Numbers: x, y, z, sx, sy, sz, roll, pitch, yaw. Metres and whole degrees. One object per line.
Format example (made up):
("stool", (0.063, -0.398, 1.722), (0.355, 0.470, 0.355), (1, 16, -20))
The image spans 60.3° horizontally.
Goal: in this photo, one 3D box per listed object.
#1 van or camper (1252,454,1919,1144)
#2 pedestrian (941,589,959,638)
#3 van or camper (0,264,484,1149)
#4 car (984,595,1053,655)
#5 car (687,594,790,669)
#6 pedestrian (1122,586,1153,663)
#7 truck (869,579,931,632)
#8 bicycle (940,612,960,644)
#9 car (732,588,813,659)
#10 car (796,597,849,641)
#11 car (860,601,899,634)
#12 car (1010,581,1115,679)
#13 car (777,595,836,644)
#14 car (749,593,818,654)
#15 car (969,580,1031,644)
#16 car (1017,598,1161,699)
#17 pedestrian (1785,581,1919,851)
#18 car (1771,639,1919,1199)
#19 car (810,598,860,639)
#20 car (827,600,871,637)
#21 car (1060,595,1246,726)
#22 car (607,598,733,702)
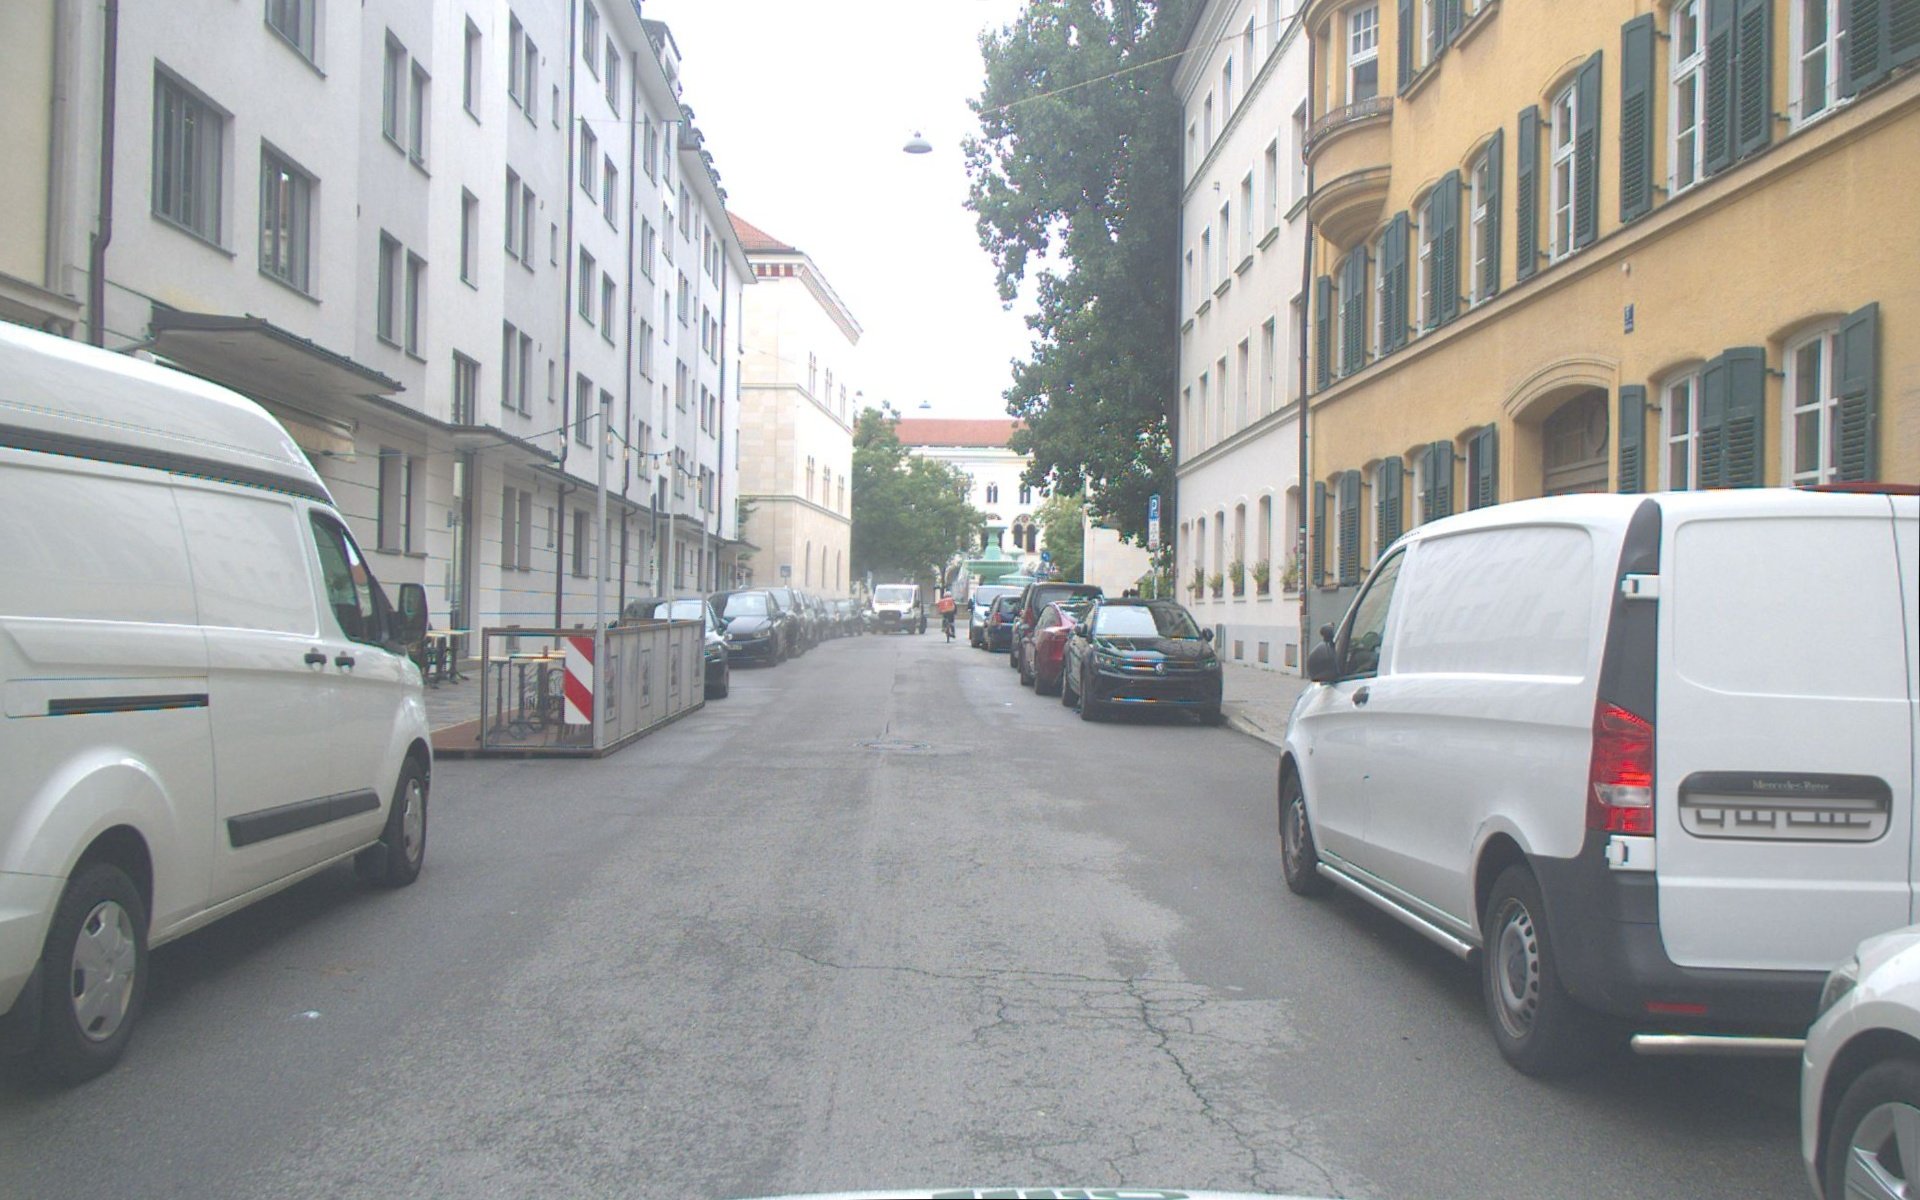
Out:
("van or camper", (2.673, 0.565, 7.160), (1.796, 1.904, 5.077), (1, 0, -1))
("pedestrian", (-0.351, 0.481, 58.618), (0.629, 1.744, 0.842), (1, -1, -1))
("van or camper", (-3.466, 0.276, 6.657), (1.719, 2.321, 5.270), (1, 0, -2))
("car", (1.667, 0.716, 48.032), (1.775, 1.642, 4.155), (1, 0, -1))
("car", (-4.583, 0.626, 34.706), (1.781, 1.470, 3.816), (0, 0, -2))
("pedestrian", (4.709, 0.648, 43.801), (0.656, 2.015, 0.708), (-2, -1, -1))
("truck", (-2.677, 0.307, 75.301), (2.076, 2.287, 6.188), (0, -1, 5))
("bicycle", (-0.359, 0.989, 58.669), (0.662, 1.114, 1.760), (1, -1, -1))
("car", (-4.538, 0.549, 40.448), (1.672, 1.637, 3.861), (0, 0, -2))
("car", (-5.224, 0.715, 63.295), (1.671, 1.637, 3.863), (0, 0, 0))
("car", (-4.021, 0.868, 82.985), (1.671, 1.609, 3.863), (0, 0, 1))
("car", (2.043, 0.590, 34.065), (1.775, 1.829, 4.246), (2, 0, -1))
("car", (-5.327, 0.668, 57.734), (1.671, 1.637, 3.863), (0, 0, 0))
("car", (-4.935, 0.643, 46.580), (1.672, 1.637, 3.861), (0, 0, -2))
("car", (1.263, 0.391, 53.933), (1.814, 1.953, 4.768), (1, 0, -1))
("car", (2.018, 0.743, 26.988), (1.776, 1.449, 4.244), (2, 0, -3))
("pedestrian", (5.627, 0.695, 10.226), (0.647, 1.599, 0.642), (-2, -1, -2))
("car", (2.870, 0.816, 1.838), (1.674, 1.417, 4.203), (1, 0, -3))
("car", (-5.120, 0.733, 68.114), (1.671, 1.637, 3.863), (0, 0, 1))
("car", (-4.968, 0.802, 74.373), (1.671, 1.609, 3.863), (0, 0, 1))
("car", (2.414, 0.725, 21.644), (1.775, 1.490, 4.245), (2, 0, -2))
("car", (-4.332, 0.700, 25.017), (1.729, 1.435, 4.147), (0, 0, -9))
